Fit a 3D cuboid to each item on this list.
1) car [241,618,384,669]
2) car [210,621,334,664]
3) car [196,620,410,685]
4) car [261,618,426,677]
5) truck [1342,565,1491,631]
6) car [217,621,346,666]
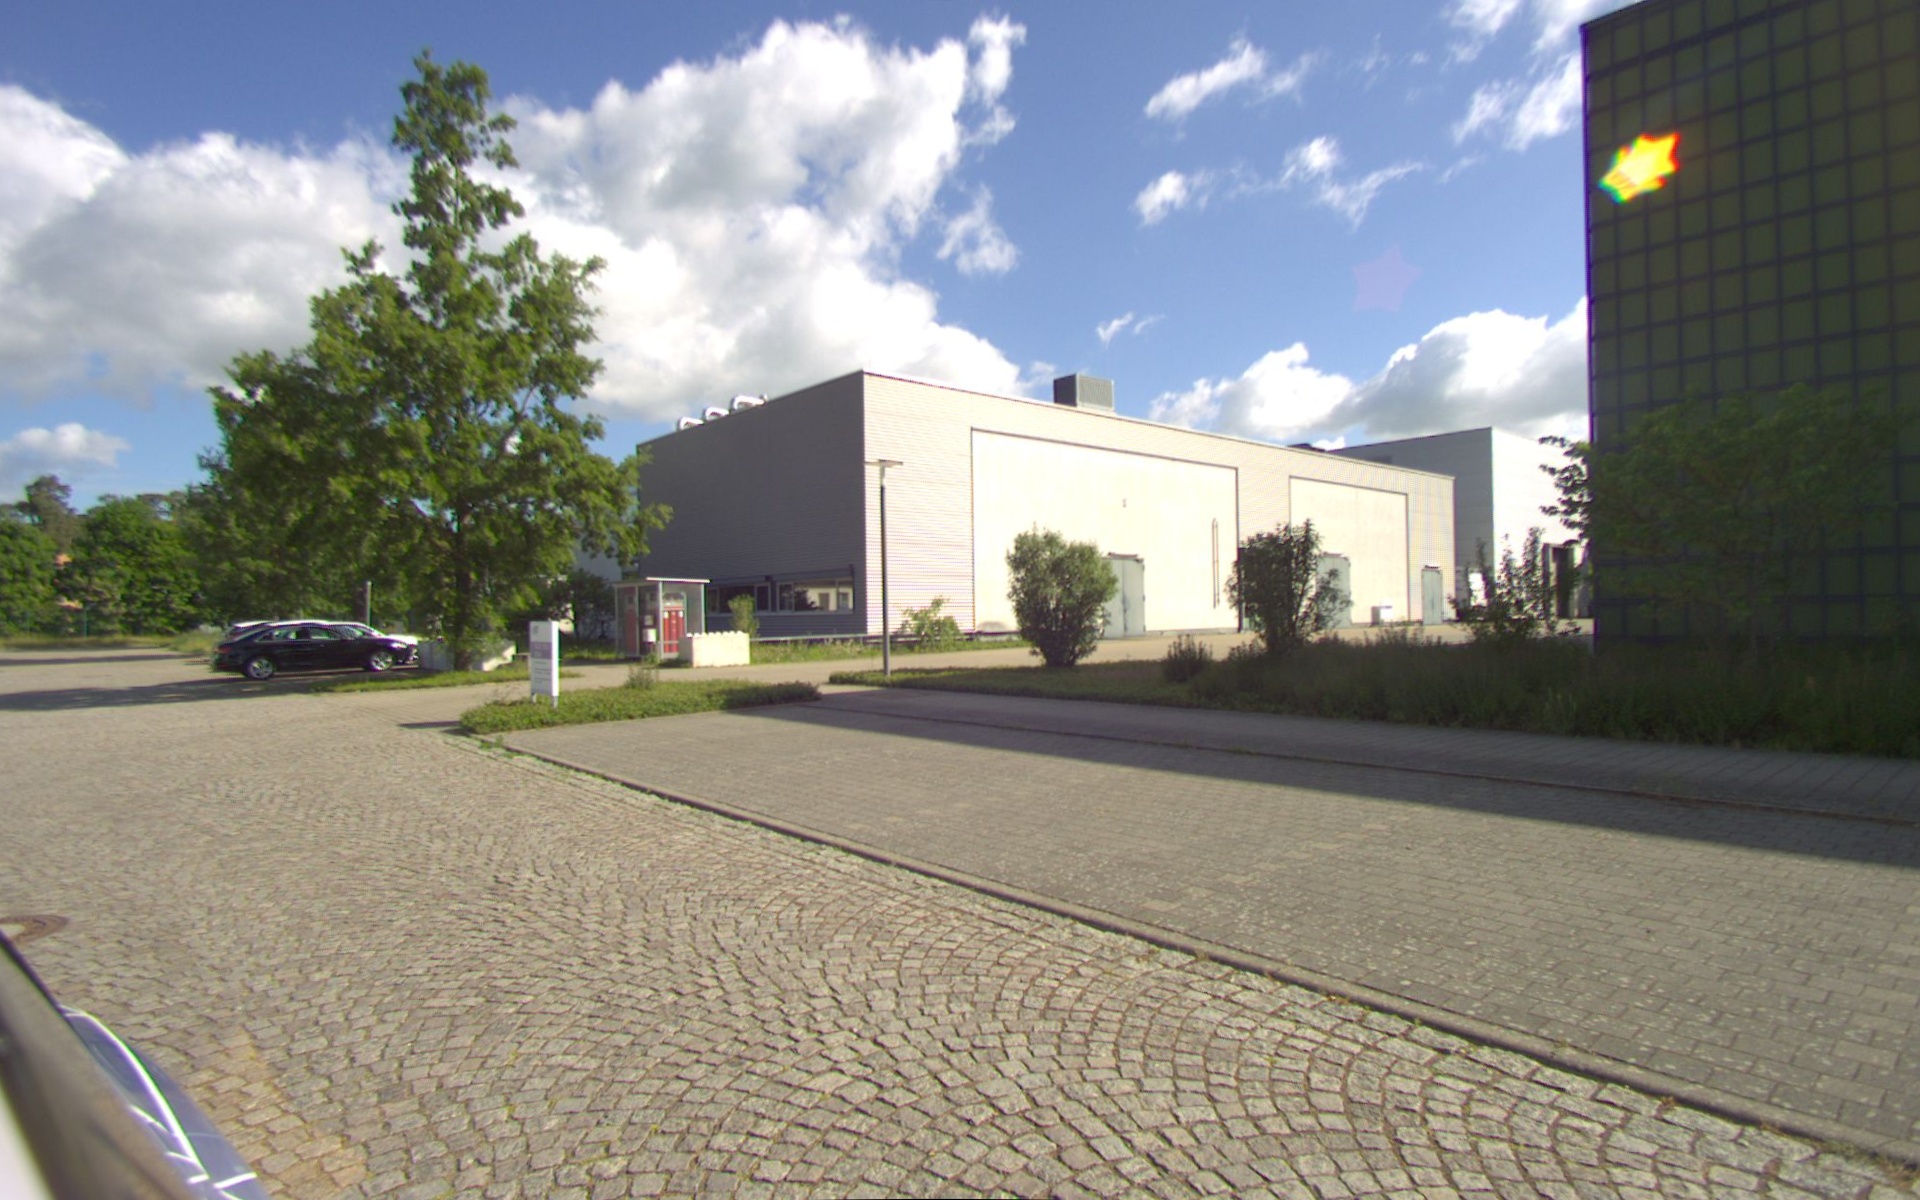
[{"bbox_3d":[-22.092,1.448,34.595,3.864,1.457,1.758,-2,0,-40],"label":"car"},{"bbox_3d":[-27.286,1.640,40.202,3.864,1.446,1.798,-2,0,-40],"label":"car"},{"bbox_3d":[-17.880,1.368,27.680,4.662,1.434,1.759,-2,0,-42],"label":"car"},{"bbox_3d":[-18.602,1.386,30.605,4.084,1.471,1.695,-2,0,-36],"label":"car"},{"bbox_3d":[28.378,-0.034,63.289,2.609,3.847,8.116,0,-2,-40],"label":"truck"},{"bbox_3d":[-25.560,1.596,38.181,3.864,1.428,1.695,-2,0,-40],"label":"car"}]
